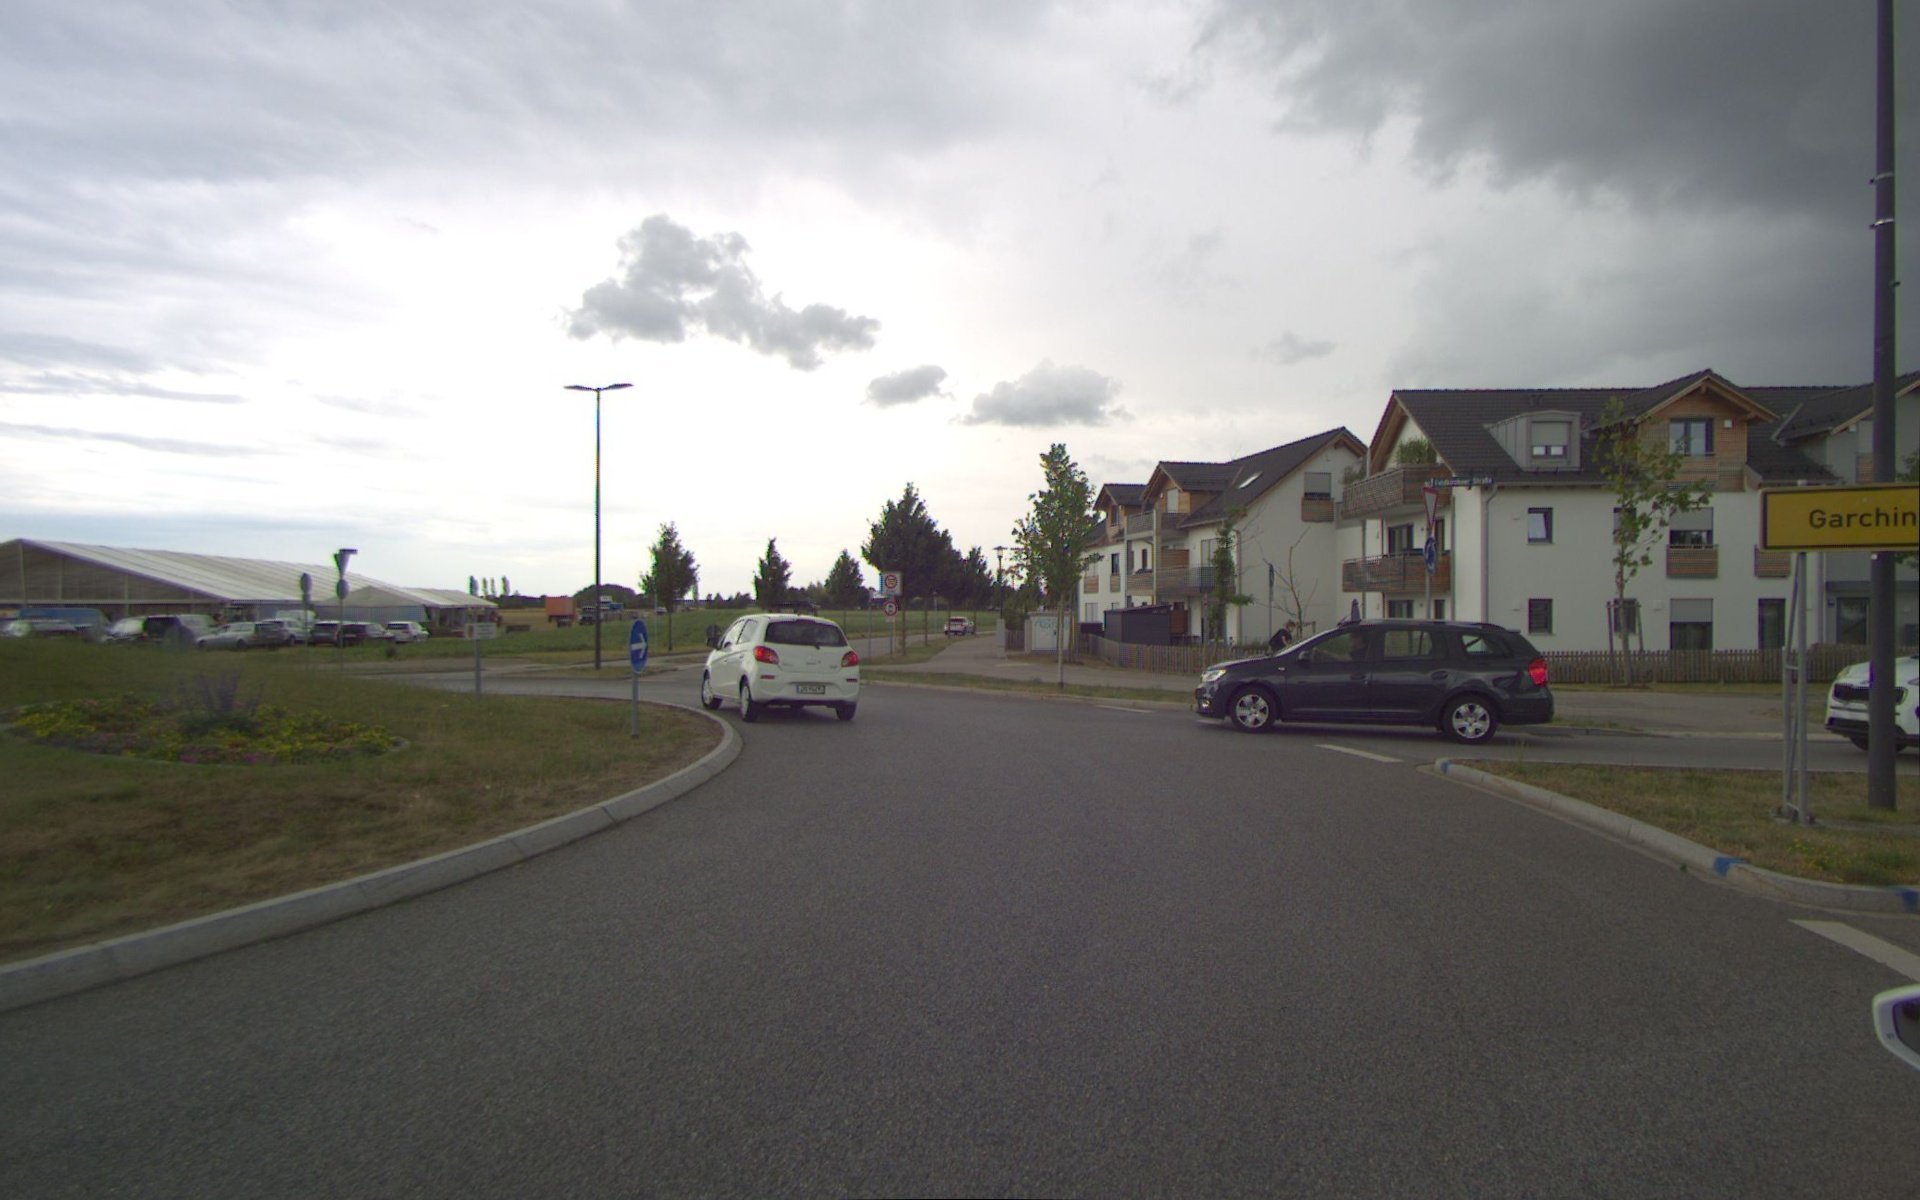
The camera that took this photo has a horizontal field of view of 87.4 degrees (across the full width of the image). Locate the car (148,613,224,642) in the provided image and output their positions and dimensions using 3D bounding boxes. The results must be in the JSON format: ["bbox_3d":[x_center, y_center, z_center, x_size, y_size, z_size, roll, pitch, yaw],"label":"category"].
[{"bbox_3d":[-42.505,1.504,55.289,1.919,1.461,3.987,1,0,-15],"label":"car"}]

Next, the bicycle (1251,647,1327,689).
[{"bbox_3d":[7.778,1.593,23.749,1.680,0.959,0.497,-1,-2,18],"label":"bicycle"}]

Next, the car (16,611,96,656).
[{"bbox_3d":[-36.847,1.329,40.922,3.936,1.574,1.709,2,3,38],"label":"car"}]

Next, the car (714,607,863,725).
[{"bbox_3d":[-2.660,0.952,15.005,1.608,1.539,3.385,1,-3,-20],"label":"car"}]

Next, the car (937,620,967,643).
[{"bbox_3d":[-0.590,2.485,79.632,1.821,1.662,4.002,1,0,8],"label":"car"}]

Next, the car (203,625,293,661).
[{"bbox_3d":[-34.985,2.089,49.377,3.799,1.628,1.735,0,0,18],"label":"car"}]

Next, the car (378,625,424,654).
[{"bbox_3d":[-33.088,2.294,59.570,1.705,1.574,3.983,0,0,-19],"label":"car"}]

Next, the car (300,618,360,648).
[{"bbox_3d":[-36.314,1.889,57.990,1.804,1.628,3.818,0,0,-14],"label":"car"}]

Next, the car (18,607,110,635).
[{"bbox_3d":[-49.908,1.122,56.063,1.915,1.461,3.995,1,0,-7],"label":"car"}]

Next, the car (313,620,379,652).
[{"bbox_3d":[-32.326,1.865,52.859,3.812,1.628,1.630,0,0,35],"label":"car"}]

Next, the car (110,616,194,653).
[{"bbox_3d":[-35.030,1.460,43.532,3.936,1.461,1.944,0,0,37],"label":"car"}]

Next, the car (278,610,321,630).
[{"bbox_3d":[-55.866,1.644,85.019,1.804,1.628,3.819,0,0,-14],"label":"car"}]

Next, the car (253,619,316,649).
[{"bbox_3d":[-38.719,1.926,57.679,1.804,1.628,3.818,0,0,-14],"label":"car"}]

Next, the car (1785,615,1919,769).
[{"bbox_3d":[12.376,0.997,11.451,4.361,1.647,1.715,0,-2,5],"label":"car"}]

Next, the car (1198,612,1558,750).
[{"bbox_3d":[5.438,1.003,13.524,4.194,1.584,1.774,1,-1,18],"label":"car"}]

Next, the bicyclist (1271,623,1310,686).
[{"bbox_3d":[7.814,1.275,23.758,0.852,1.465,0.725,-1,-2,17],"label":"bicyclist"}]

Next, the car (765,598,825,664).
[{"bbox_3d":[-6.166,1.169,37.978,1.963,2.283,4.567,1,-2,-7],"label":"car"}]

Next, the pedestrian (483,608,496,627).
[{"bbox_3d":[-51.325,1.930,109.513,1.033,2.040,1.059,0,0,-11],"label":"pedestrian"}]
